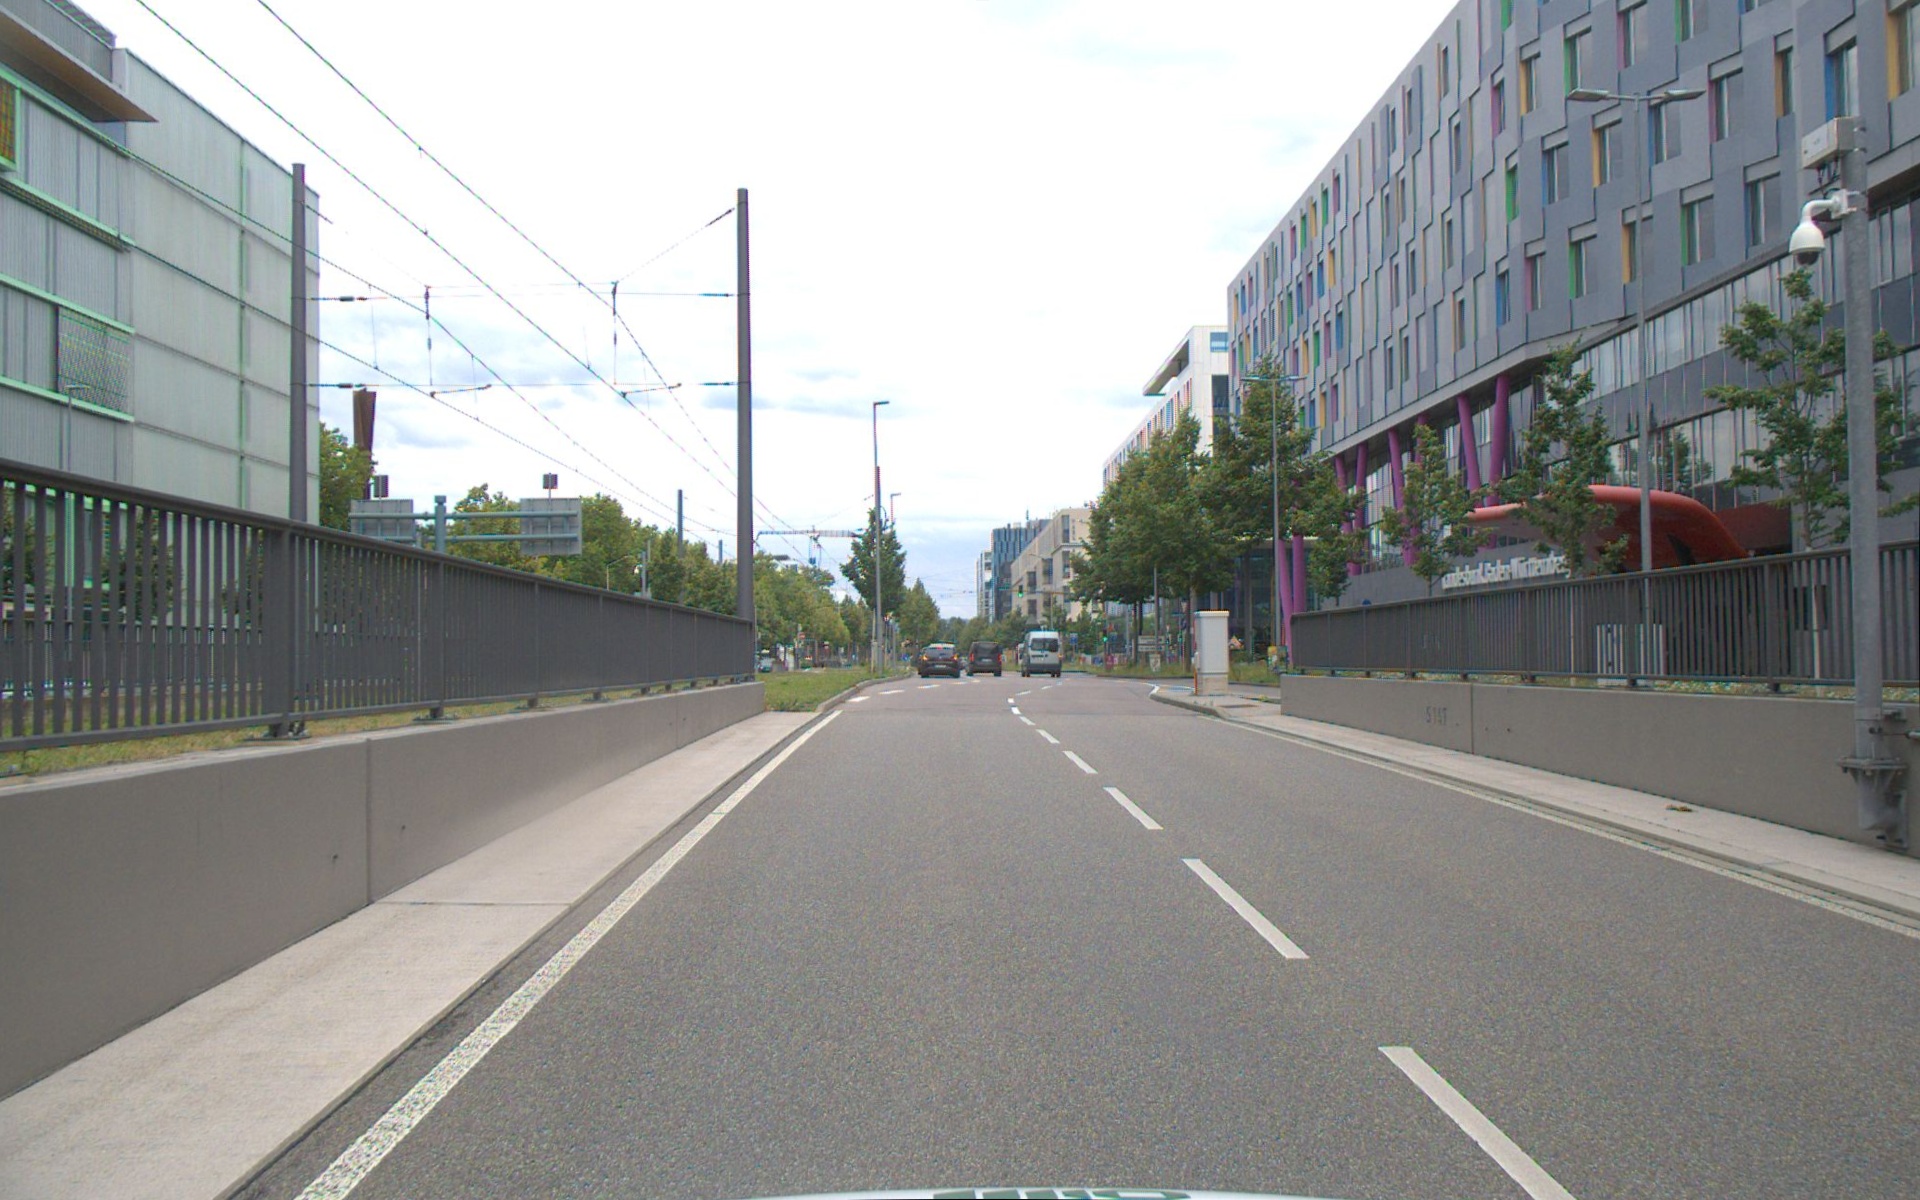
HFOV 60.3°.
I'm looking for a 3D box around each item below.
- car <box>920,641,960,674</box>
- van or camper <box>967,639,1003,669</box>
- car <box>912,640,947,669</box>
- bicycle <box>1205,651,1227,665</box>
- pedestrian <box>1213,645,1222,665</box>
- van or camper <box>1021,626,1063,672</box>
[{"bbox_3d":[-0.937,2.619,75.655,1.708,1.442,3.998,1,-2,-2],"label":"car"},{"bbox_3d":[1.424,3.051,94.541,1.953,1.644,4.788,0,-1,0],"label":"van or camper"},{"bbox_3d":[-1.867,3.348,100.895,1.952,1.711,4.000,0,-2,1],"label":"car"},{"bbox_3d":[21.209,4.803,137.012,1.755,1.105,0.617,-1,-2,1],"label":"bicycle"},{"bbox_3d":[21.313,4.529,137.044,0.602,1.632,0.618,-1,-2,1],"label":"pedestrian"},{"bbox_3d":[4.582,2.721,92.950,2.066,2.397,4.922,0,0,0],"label":"van or camper"}]
